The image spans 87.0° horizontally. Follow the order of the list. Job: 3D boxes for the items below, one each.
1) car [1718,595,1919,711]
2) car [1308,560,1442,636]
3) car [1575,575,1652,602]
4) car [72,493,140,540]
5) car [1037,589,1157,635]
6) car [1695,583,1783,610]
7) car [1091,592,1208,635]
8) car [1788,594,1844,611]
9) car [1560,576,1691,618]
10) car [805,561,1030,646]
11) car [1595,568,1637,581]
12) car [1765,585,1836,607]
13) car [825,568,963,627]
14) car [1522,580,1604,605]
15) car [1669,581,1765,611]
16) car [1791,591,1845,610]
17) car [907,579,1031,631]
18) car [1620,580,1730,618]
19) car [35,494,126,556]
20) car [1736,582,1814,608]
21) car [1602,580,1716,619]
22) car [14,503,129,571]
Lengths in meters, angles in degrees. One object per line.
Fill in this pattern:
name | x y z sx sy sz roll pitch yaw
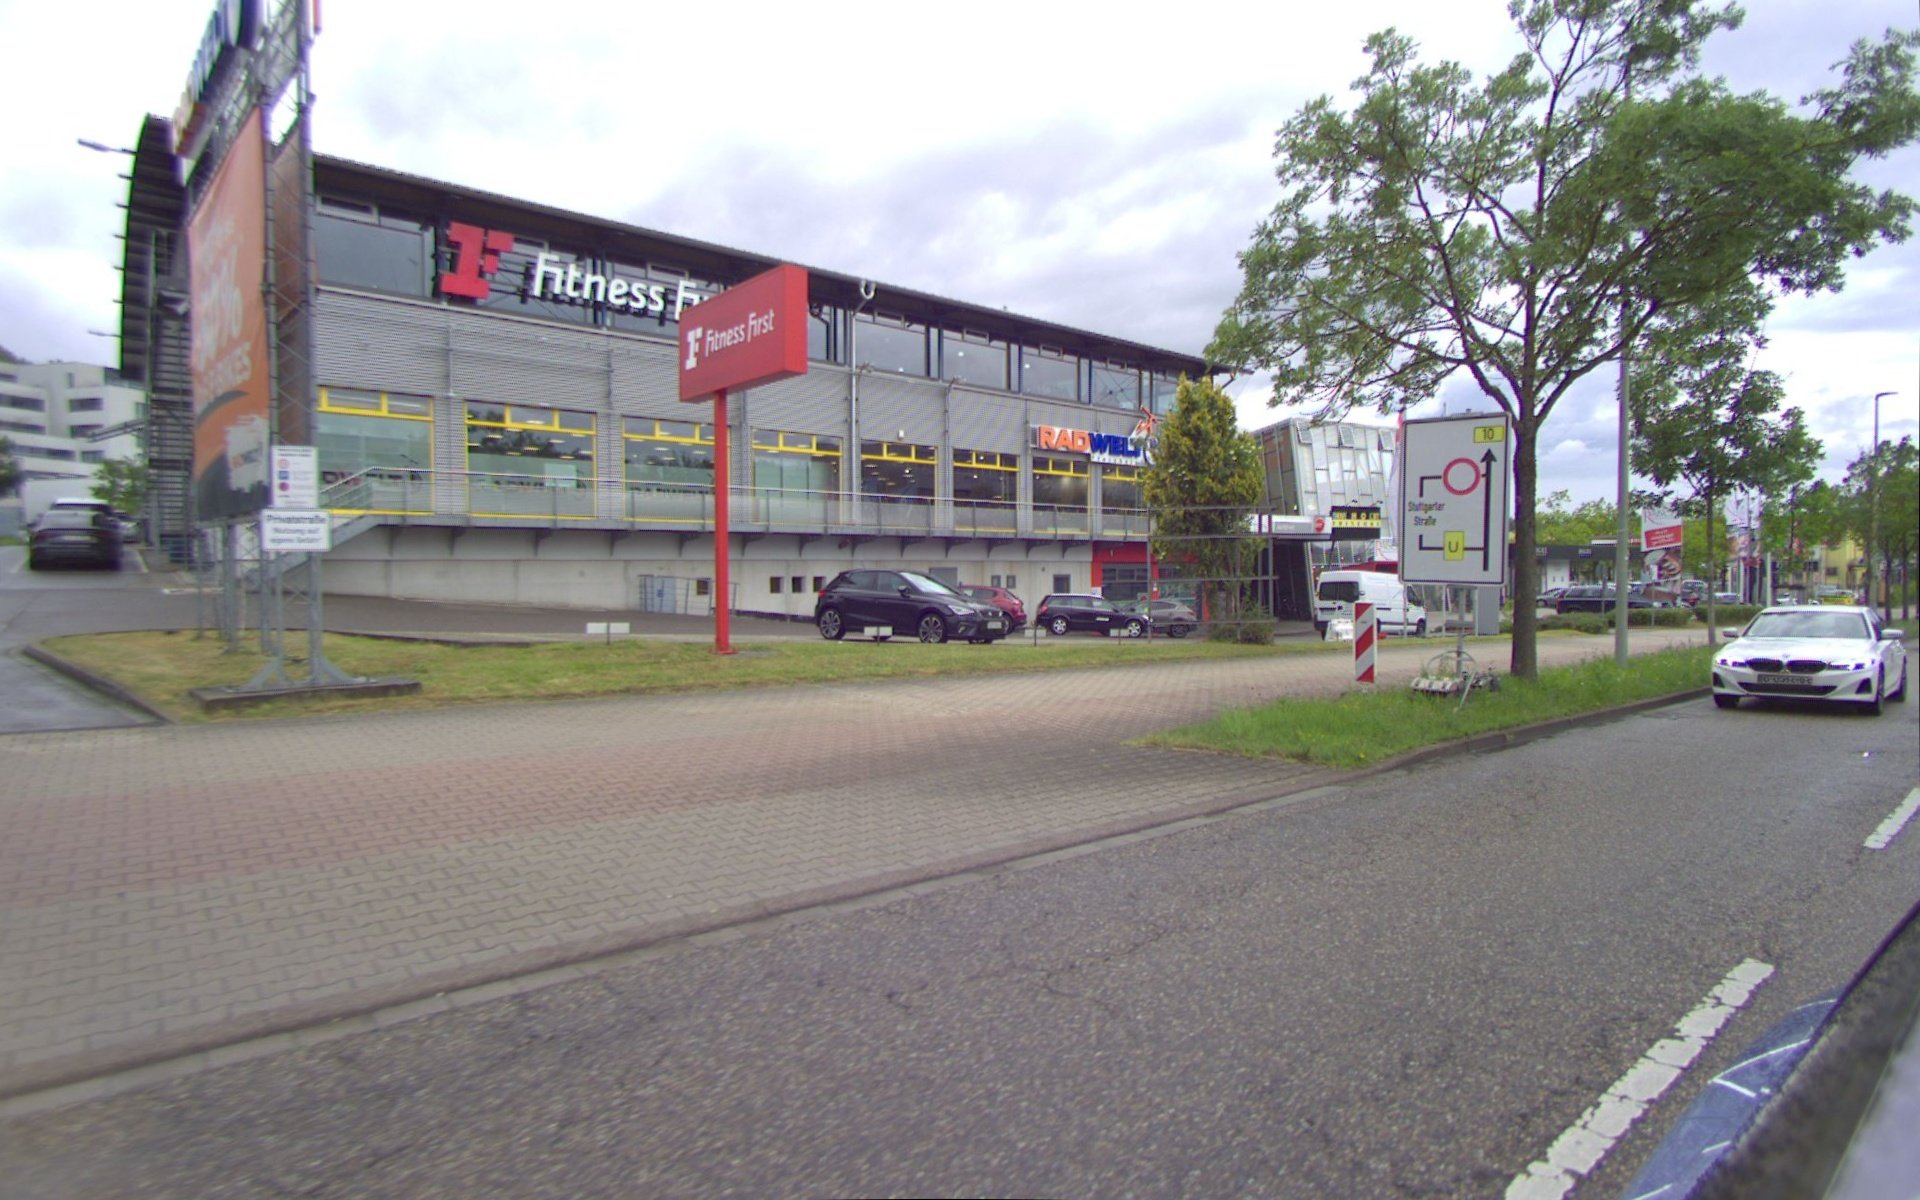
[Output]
car | 12.768 0.671 14.917 4.465 1.459 1.805 0 -1 -43
car | 15.233 0.009 36.993 5.579 2.570 2.231 2 -2 -40
car | 49.458 -0.898 76.683 4.426 1.701 1.796 3 4 10
car | -33.311 -3.301 39.580 1.767 1.673 4.002 -1 6 -37
car | 4.925 0.419 36.737 4.185 1.489 1.737 2 -1 5
car | 51.669 -0.259 67.215 4.118 1.490 1.785 3 3 12
car | 7.253 0.514 39.081 4.183 1.489 1.782 2 -1 3
car | 81.159 0.235 95.944 3.986 1.529 1.717 0 3 43
car | 31.000 -0.156 47.282 1.888 1.620 4.678 1 4 -31
car | -0.858 0.034 19.374 4.079 1.457 1.773 2 -1 36
car | 99.589 -3.898 153.682 2.000 1.820 5.088 0 2 -42
car | 69.998 -0.349 84.306 4.235 1.598 1.743 3 3 2
car | -1.942 -0.060 30.407 3.844 1.579 1.736 2 -1 7
car | 41.541 -0.536 69.831 4.421 1.412 1.798 3 4 7
car | 44.348 -0.261 59.328 1.831 1.490 4.177 0 4 -42
car | 75.326 0.066 88.892 1.714 1.599 3.866 2 0 8
car | 0.332 0.153 33.037 3.810 1.521 1.735 2 -1 9
car | 36.311 -0.096 51.480 1.767 1.620 4.182 0 4 -38
car | -26.636 -2.316 30.765 1.767 1.673 4.002 -1 6 -37
car | 61.373 -0.394 76.263 4.110 1.598 1.739 3 3 10
car | 34.116 -0.060 49.498 1.795 1.620 4.182 0 4 -38
car | -22.607 -1.656 25.888 1.766 1.528 4.003 -1 6 -35
